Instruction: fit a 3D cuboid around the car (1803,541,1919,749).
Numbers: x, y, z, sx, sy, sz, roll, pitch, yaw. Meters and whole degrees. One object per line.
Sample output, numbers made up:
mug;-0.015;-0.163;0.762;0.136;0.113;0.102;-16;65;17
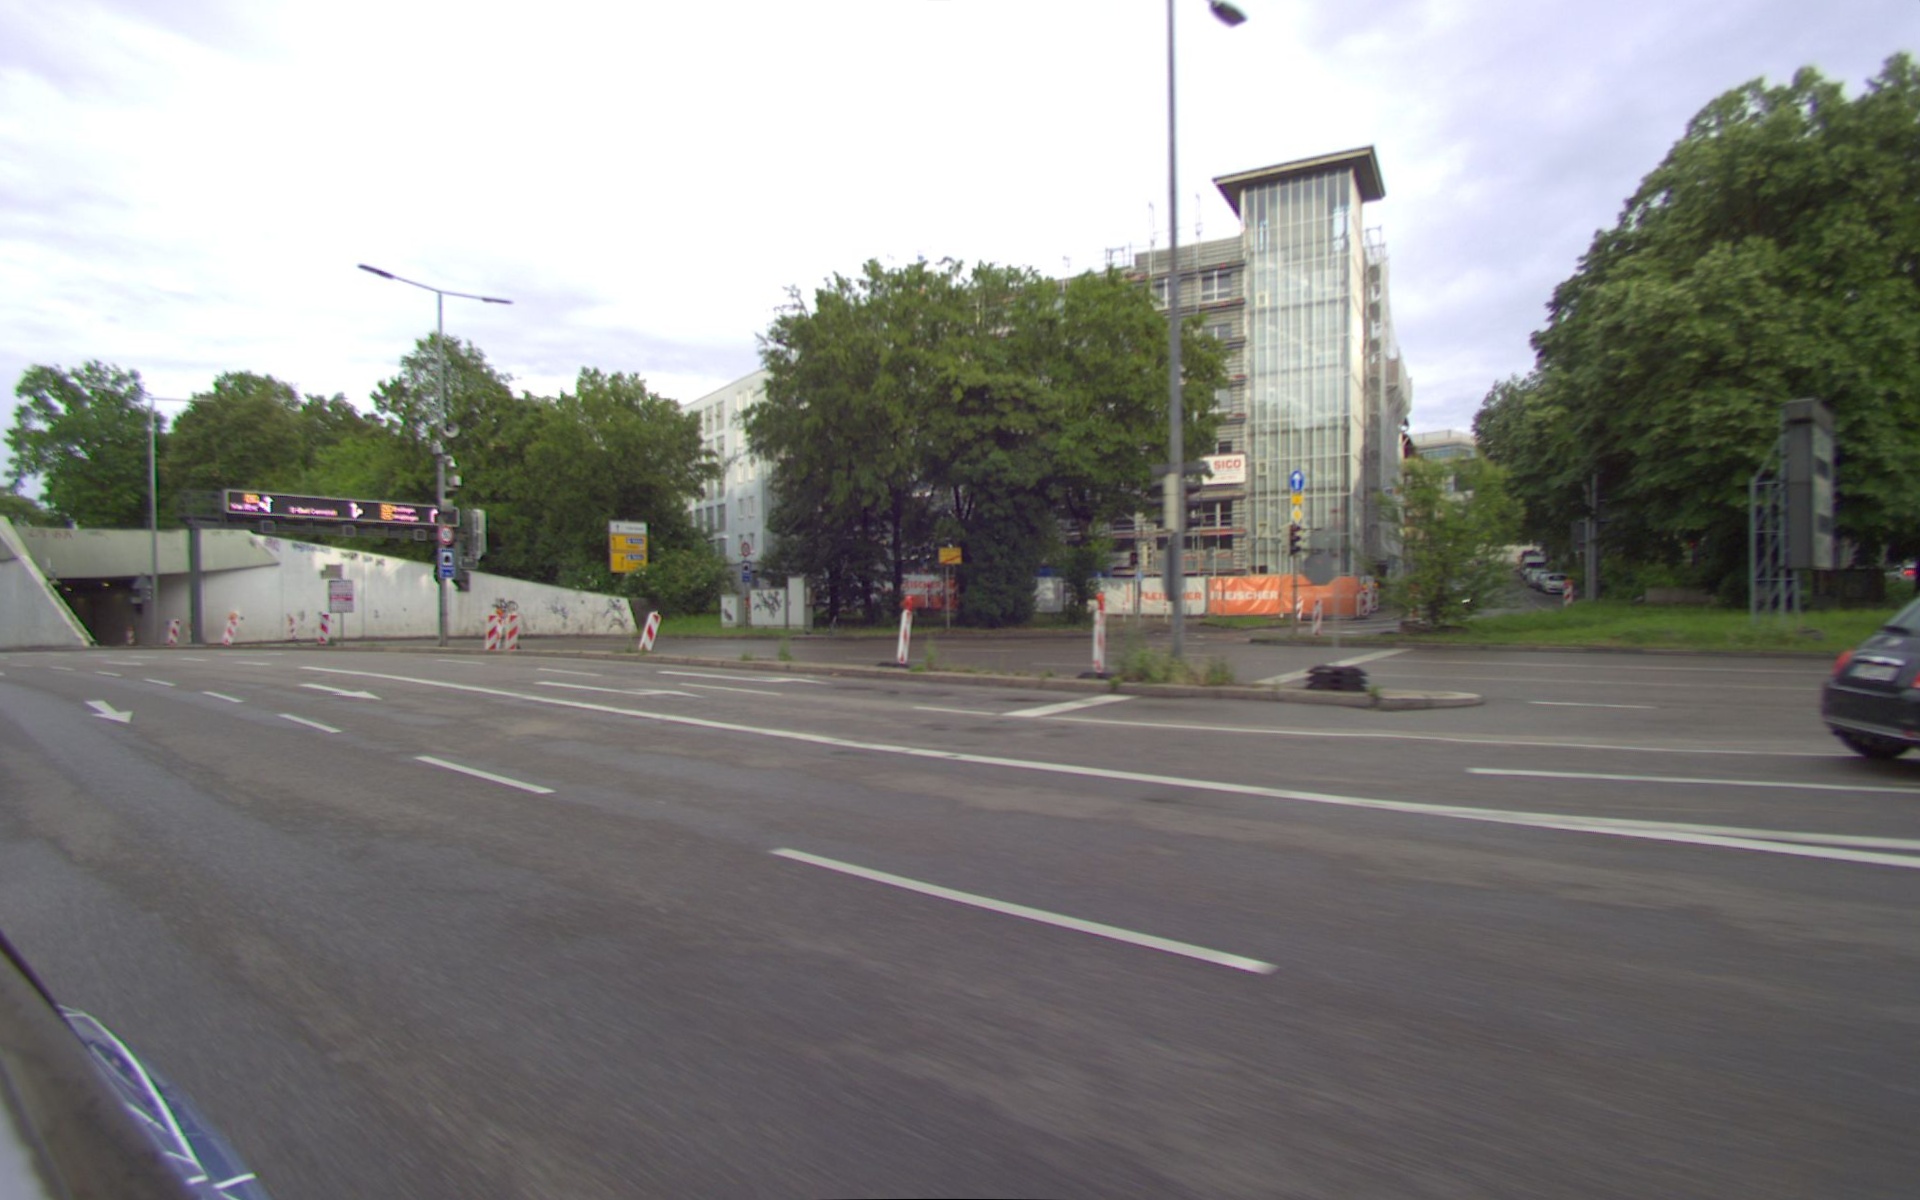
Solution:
car;8.542;0.320;7.237;3.472;1.451;1.584;0;1;16

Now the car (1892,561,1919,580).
car;60.339;-1.845;63.741;1.584;1.173;3.471;0;1;28

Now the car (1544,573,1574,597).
car;43.212;-1.094;73.029;1.803;1.638;3.959;-1;2;31
